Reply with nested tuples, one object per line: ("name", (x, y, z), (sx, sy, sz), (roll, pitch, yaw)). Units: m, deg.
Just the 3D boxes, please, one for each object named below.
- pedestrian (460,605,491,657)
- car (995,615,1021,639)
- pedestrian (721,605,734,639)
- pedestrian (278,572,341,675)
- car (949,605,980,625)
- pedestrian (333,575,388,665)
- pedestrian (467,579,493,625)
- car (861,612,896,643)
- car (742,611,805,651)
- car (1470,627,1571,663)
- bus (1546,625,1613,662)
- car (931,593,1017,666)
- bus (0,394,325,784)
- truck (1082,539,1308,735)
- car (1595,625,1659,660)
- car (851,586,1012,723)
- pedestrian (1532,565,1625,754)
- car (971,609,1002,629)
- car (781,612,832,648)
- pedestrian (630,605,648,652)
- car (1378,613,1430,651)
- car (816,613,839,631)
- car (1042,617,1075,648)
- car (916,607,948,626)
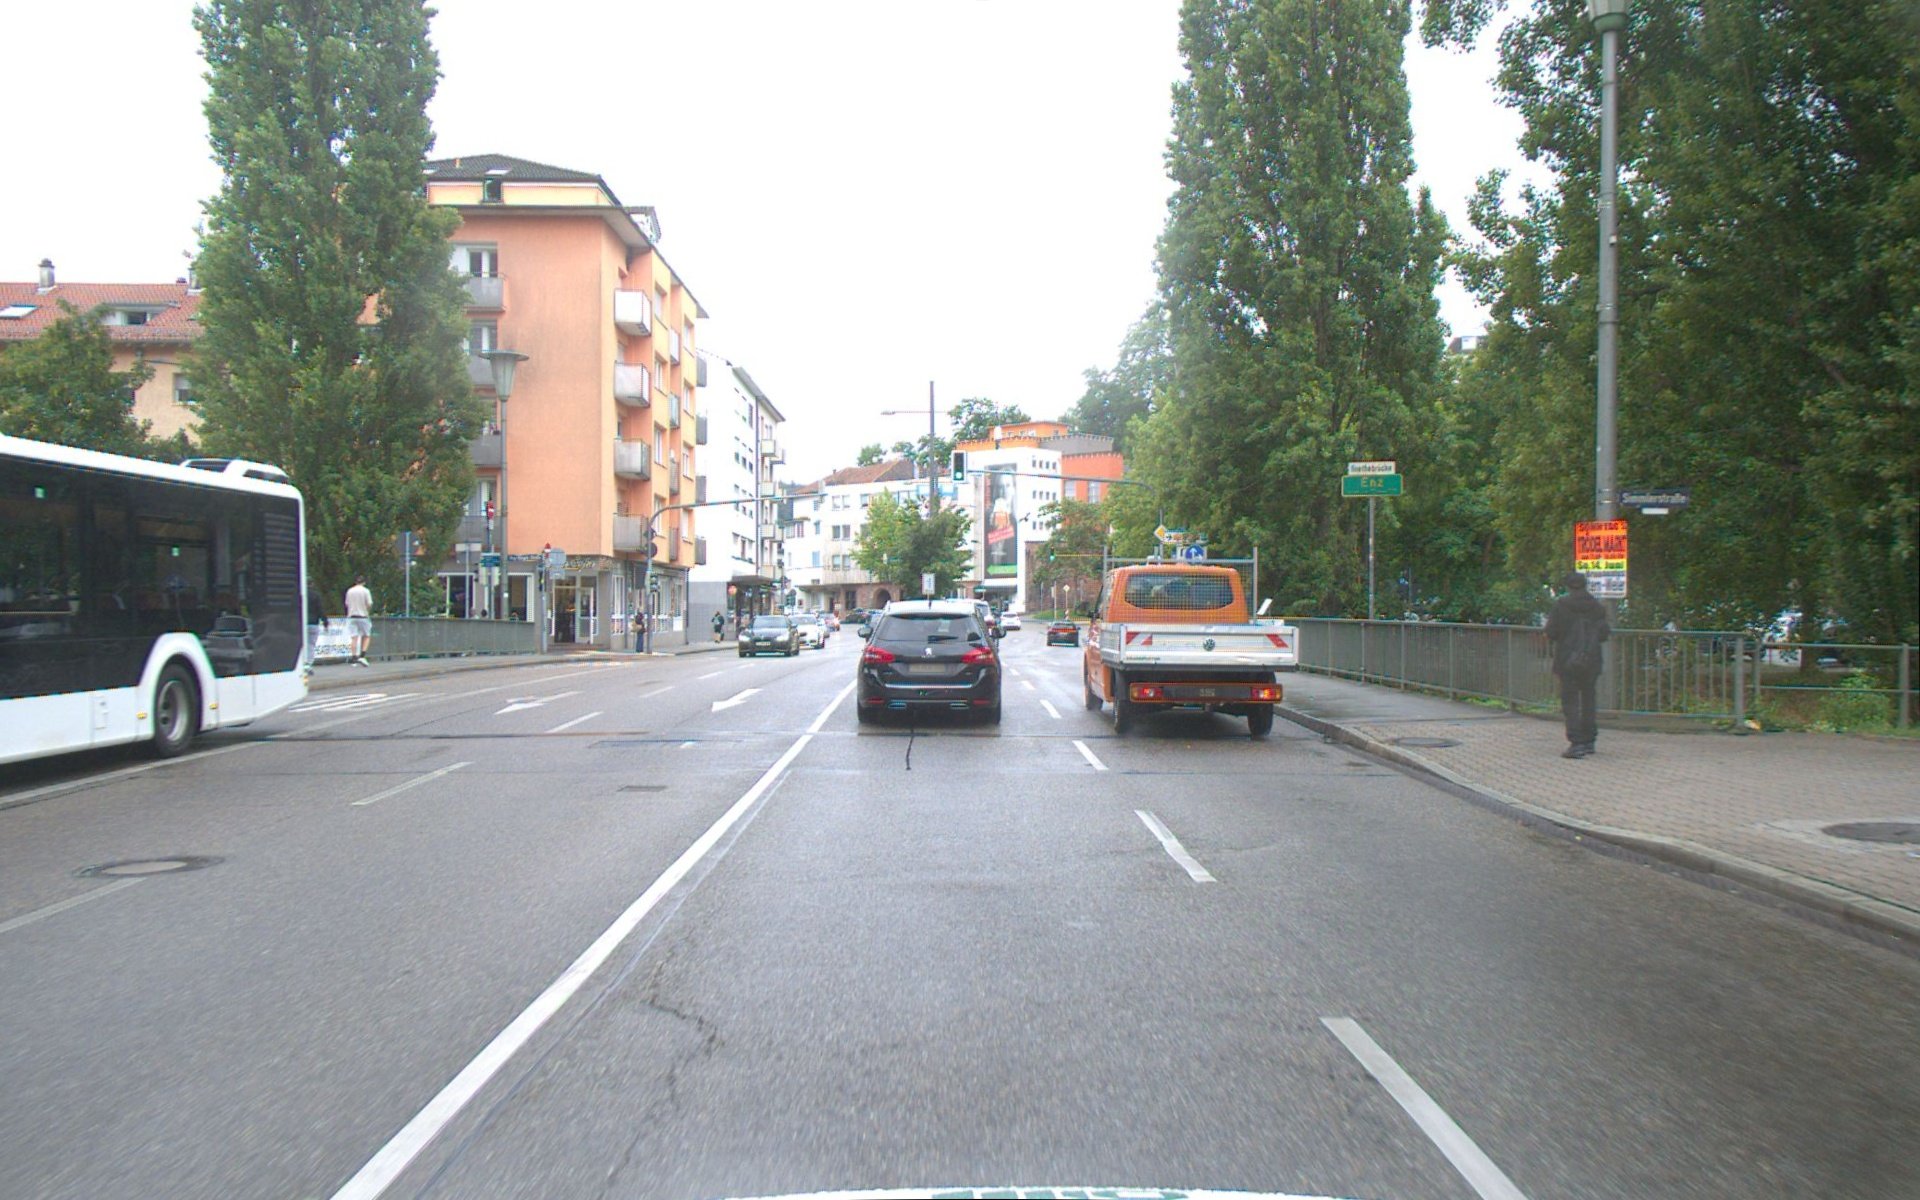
("pedestrian", (-16.009, 1.040, 54.632), (0.783, 1.692, 0.619), (-3, -4, 34))
("car", (3.894, 2.174, 134.272), (1.953, 1.853, 3.999), (1, -1, -1))
("pedestrian", (-13.040, 1.234, 92.793), (0.626, 1.893, 0.523), (1, -1, -2))
("pedestrian", (-11.874, 0.434, 30.216), (0.683, 1.825, 0.959), (1, -1, 3))
("car", (0.344, 1.276, 141.490), (1.958, 1.713, 3.989), (0, -1, -11))
("pedestrian", (-12.439, 0.418, 34.337), (0.780, 1.825, 0.812), (1, -1, 2))
("pedestrian", (-15.615, 0.063, 53.847), (0.639, 1.471, 0.799), (-1, -3, -3))
("car", (-4.412, 1.483, 90.257), (1.701, 1.629, 3.918), (-1, -1, 0))
("car", (-6.494, 1.088, 57.995), (1.755, 1.348, 4.405), (0, -1, -1))
("car", (25.771, 2.064, 76.063), (4.039, 1.649, 1.804), (0, -1, -5))
("bus", (30.765, 2.146, 82.291), (1.952, 1.754, 4.001), (1, -1, 2))
("car", (0.355, 0.647, 36.116), (1.757, 1.509, 4.001), (0, -1, 2))
("bus", (-9.039, -0.104, 13.827), (2.688, 3.129, 12.237), (0, 1, 0))
("truck", (2.706, 0.401, 20.181), (2.078, 2.061, 4.715), (1, 0, 0))
("car", (33.532, 2.118, 83.229), (1.781, 1.680, 4.001), (1, -1, 3))
("car", (-0.269, 0.678, 21.014), (1.757, 1.509, 4.001), (2, -2, 2))
("pedestrian", (5.683, 0.530, 15.209), (0.627, 1.693, 0.563), (-1, 0, -1))
("car", (2.290, 1.659, 144.124), (1.619, 1.592, 3.581), (4, -3, -17))
("car", (-6.741, 1.295, 72.834), (1.798, 1.536, 4.820), (0, -1, 0))
("pedestrian", (-12.104, 1.077, 62.400), (0.519, 1.757, 0.649), (0, -1, 3))
("car", (26.409, 1.940, 98.421), (1.864, 2.049, 3.723), (3, -3, -3))
("car", (-11.266, 1.872, 140.904), (1.631, 1.424, 3.875), (-1, -1, -1))
("car", (5.712, 1.892, 96.048), (1.611, 1.592, 3.599), (3, -3, 0))
("car", (-2.601, 1.523, 152.650), (1.624, 1.592, 3.571), (5, -3, -25))
